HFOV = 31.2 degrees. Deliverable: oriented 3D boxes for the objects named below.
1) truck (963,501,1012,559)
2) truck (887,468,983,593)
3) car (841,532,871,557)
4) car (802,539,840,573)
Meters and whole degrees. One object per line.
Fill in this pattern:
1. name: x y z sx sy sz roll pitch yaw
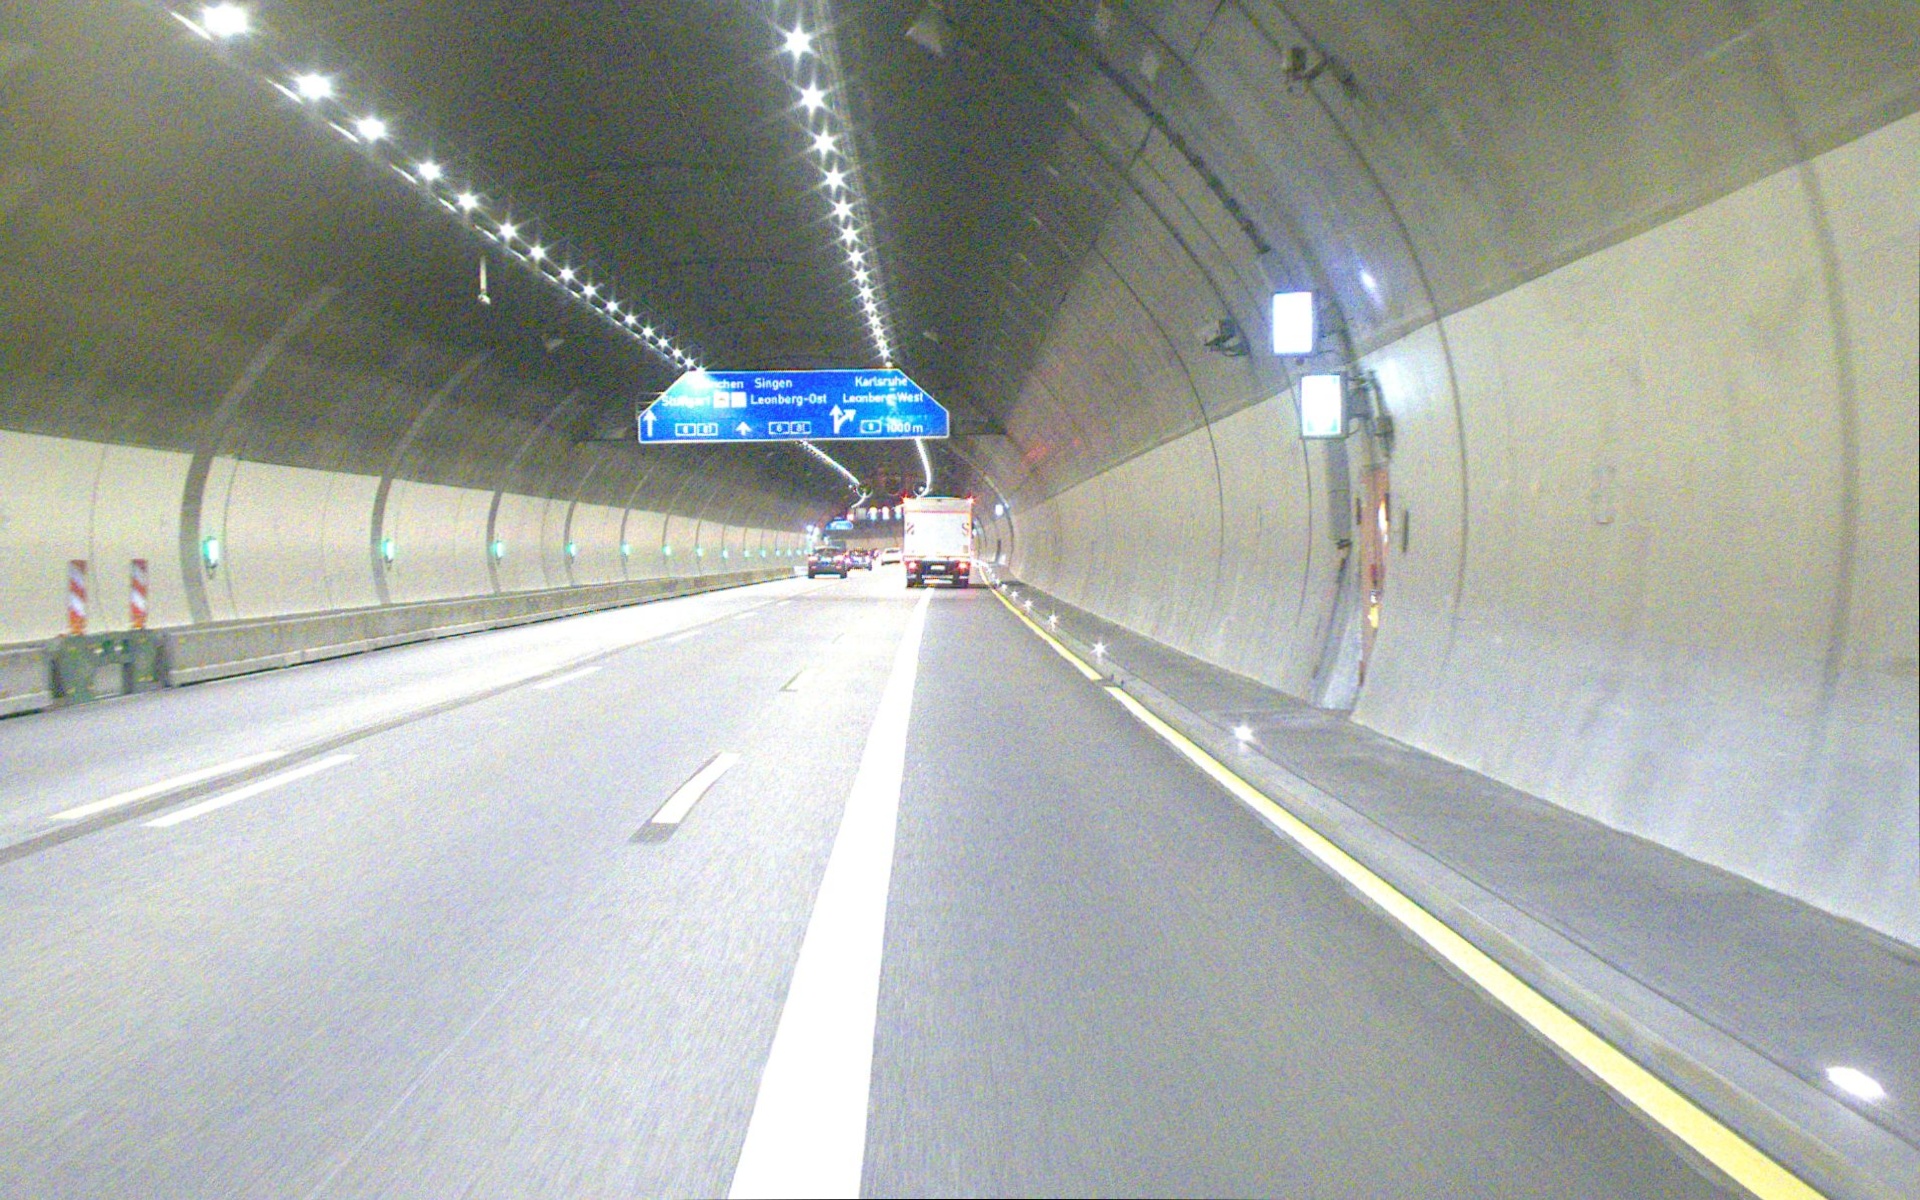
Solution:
1. truck: 1.938 -5.103 250.059 2.922 4.034 14.031 -1 1 -2
2. truck: -1.128 -2.782 138.474 3.278 4.634 17.289 -1 1 -2
3. car: -6.815 -3.669 225.486 1.812 1.514 4.001 0 3 -4
4. car: -6.807 -2.152 168.310 1.812 1.612 4.001 0 1 -3
